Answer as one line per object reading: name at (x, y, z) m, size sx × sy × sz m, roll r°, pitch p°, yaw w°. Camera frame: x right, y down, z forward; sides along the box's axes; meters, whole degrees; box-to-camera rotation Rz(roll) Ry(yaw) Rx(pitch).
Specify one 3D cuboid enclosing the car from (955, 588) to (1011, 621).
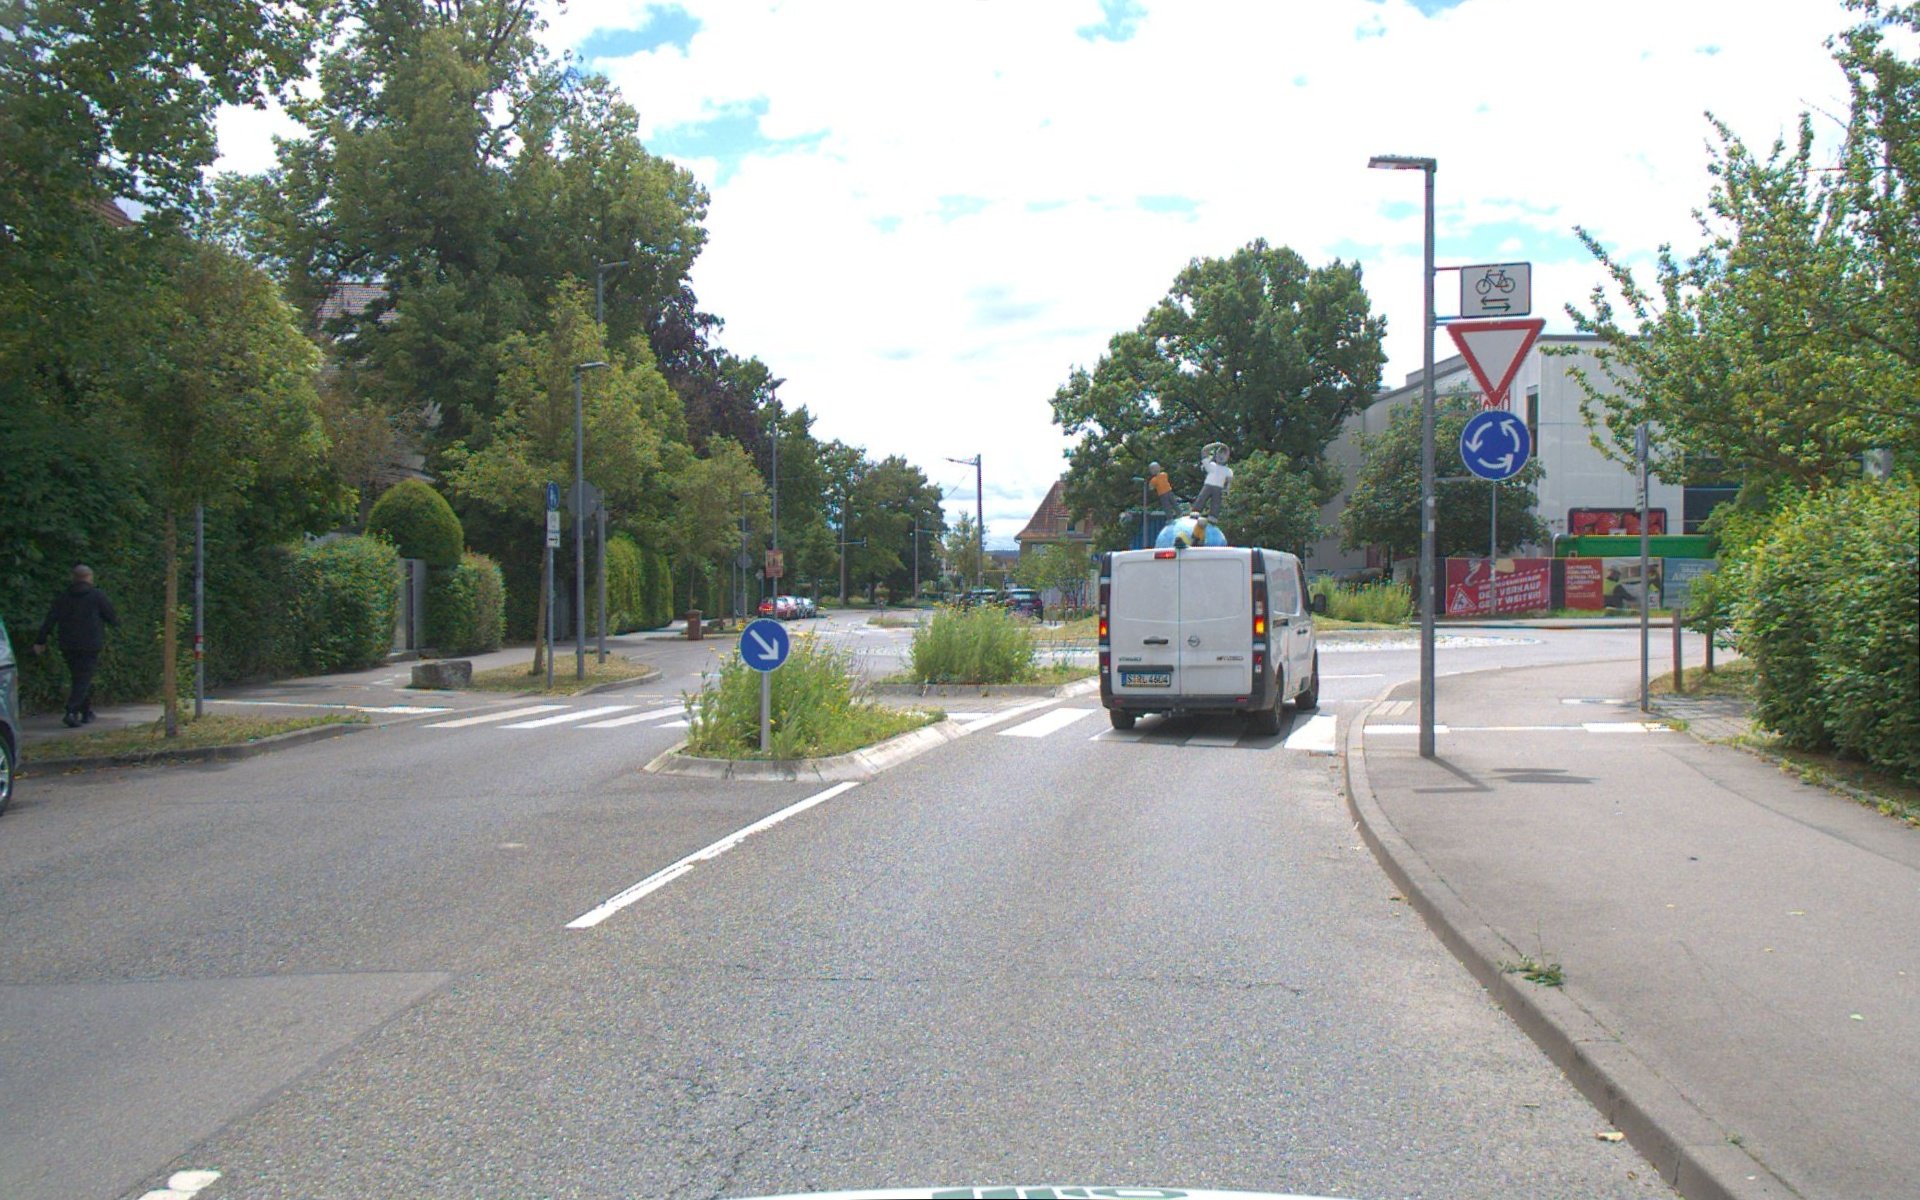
car at (1.090, 0.194, 81.187) m, size 1.886 × 1.526 × 3.913 m, roll 0°, pitch 1°, yaw -13°

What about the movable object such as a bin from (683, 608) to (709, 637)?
movable object such as a bin at (-8.290, 0.706, 51.941) m, size 0.616 × 0.878 × 0.641 m, roll -2°, pitch 0°, yaw 9°

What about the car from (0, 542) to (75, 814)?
car at (-7.218, 0.515, 9.782) m, size 2.092 × 1.803 × 4.456 m, roll 1°, pitch 1°, yaw -9°

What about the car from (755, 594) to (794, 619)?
car at (-11.145, 0.383, 99.269) m, size 2.026 × 1.410 × 4.037 m, roll 0°, pitch 1°, yaw -11°

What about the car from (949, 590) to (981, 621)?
car at (0.285, 0.323, 99.509) m, size 1.858 × 1.775 × 3.925 m, roll 0°, pitch 1°, yaw 0°

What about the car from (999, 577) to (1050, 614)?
car at (2.844, -0.220, 73.452) m, size 1.894 × 1.564 × 3.922 m, roll 0°, pitch 1°, yaw -4°

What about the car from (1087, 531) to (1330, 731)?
car at (3.052, 0.280, 19.289) m, size 1.992 × 1.979 × 4.996 m, roll 2°, pitch 1°, yaw 18°

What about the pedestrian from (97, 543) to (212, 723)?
pedestrian at (-9.517, 0.368, 19.580) m, size 0.855 × 2.049 × 1.039 m, roll -1°, pitch 0°, yaw -6°
